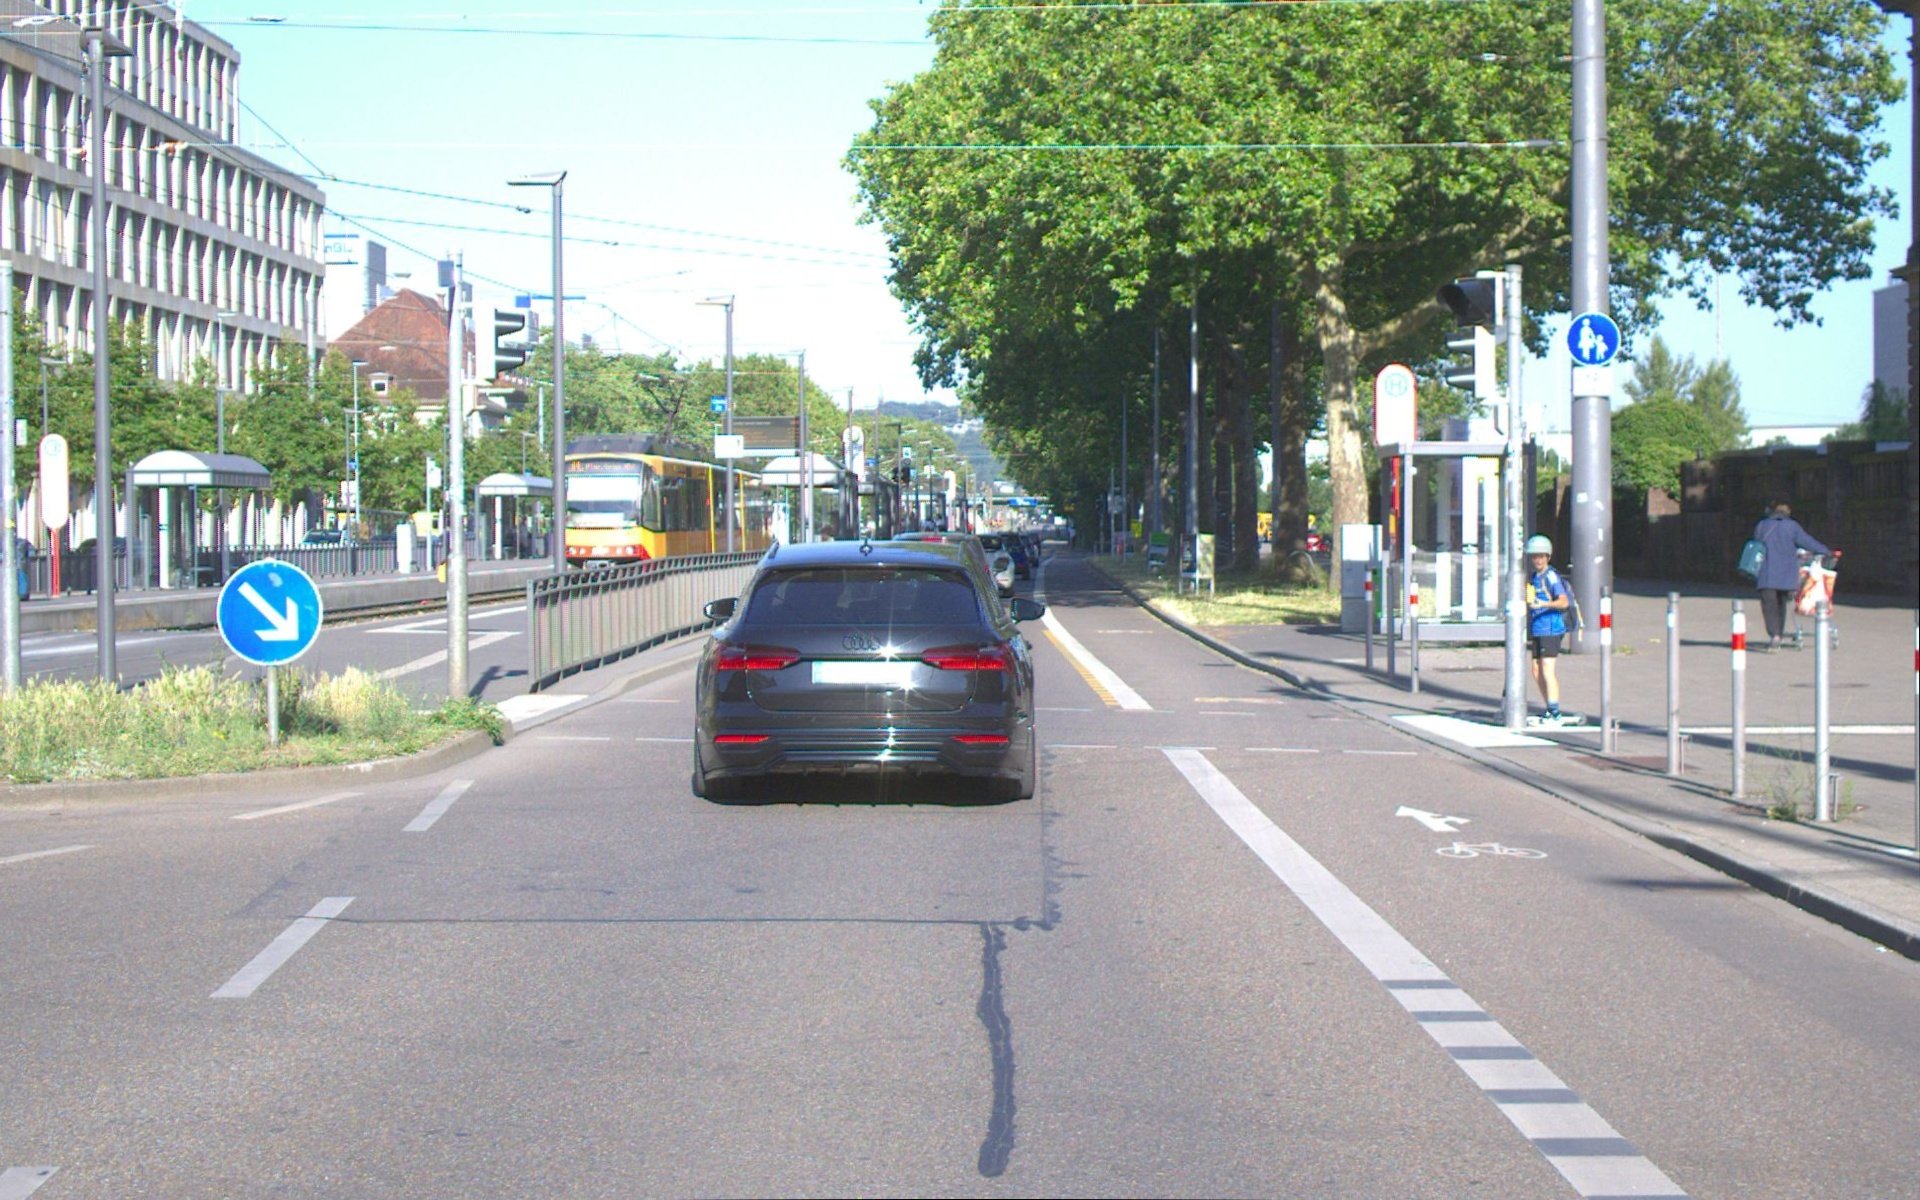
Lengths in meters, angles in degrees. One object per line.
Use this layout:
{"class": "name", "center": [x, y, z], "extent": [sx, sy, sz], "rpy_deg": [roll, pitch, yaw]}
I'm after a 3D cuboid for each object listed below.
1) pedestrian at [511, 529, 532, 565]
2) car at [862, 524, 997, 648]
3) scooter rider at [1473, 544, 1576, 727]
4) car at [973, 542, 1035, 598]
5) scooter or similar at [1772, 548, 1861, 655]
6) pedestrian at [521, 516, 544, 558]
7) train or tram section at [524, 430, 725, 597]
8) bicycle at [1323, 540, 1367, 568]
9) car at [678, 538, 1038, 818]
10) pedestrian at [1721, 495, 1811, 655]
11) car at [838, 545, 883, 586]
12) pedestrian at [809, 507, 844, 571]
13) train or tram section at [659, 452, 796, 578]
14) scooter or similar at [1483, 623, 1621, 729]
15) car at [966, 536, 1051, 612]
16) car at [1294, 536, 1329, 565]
{"class": "pedestrian", "center": [-15.617, -1.881, 122.422], "extent": [0.614, 1.255, 0.724], "rpy_deg": [0, 1, 6]}
{"class": "car", "center": [-0.421, -0.221, 46.903], "extent": [1.762, 1.614, 4.000], "rpy_deg": [0, 1, -1]}
{"class": "scooter rider", "center": [4.350, 0.263, 26.525], "extent": [0.701, 1.392, 0.600], "rpy_deg": [0, 1, 2]}
{"class": "car", "center": [1.280, -0.896, 101.870], "extent": [1.762, 1.614, 4.000], "rpy_deg": [0, 1, -1]}
{"class": "scooter or similar", "center": [9.488, 0.008, 38.103], "extent": [0.718, 1.152, 0.760], "rpy_deg": [-2, 1, -5]}
{"class": "pedestrian", "center": [-15.555, -2.304, 125.106], "extent": [0.614, 1.522, 0.724], "rpy_deg": [0, 1, 10]}
{"class": "train or tram section", "center": [-8.195, -2.104, 86.060], "extent": [3.309, 3.816, 14.219], "rpy_deg": [0, 1, 1]}
{"class": "bicycle", "center": [15.865, -1.899, 141.665], "extent": [1.773, 1.116, 0.439], "rpy_deg": [-1, 1, 1]}
{"class": "car", "center": [-0.551, 0.379, 19.637], "extent": [1.878, 1.452, 3.357], "rpy_deg": [0, 1, -1]}
{"class": "pedestrian", "center": [8.896, -0.281, 37.954], "extent": [0.770, 1.738, 0.795], "rpy_deg": [-1, 1, 26]}
{"class": "car", "center": [-4.061, -1.425, 140.583], "extent": [1.762, 1.614, 4.000], "rpy_deg": [0, 1, -1]}
{"class": "pedestrian", "center": [-3.130, -1.434, 80.706], "extent": [0.746, 1.503, 0.666], "rpy_deg": [0, 1, 4]}
{"class": "train or tram section", "center": [-7.356, -2.675, 110.468], "extent": [3.309, 3.816, 11.843], "rpy_deg": [0, 1, 1]}
{"class": "scooter or similar", "center": [4.581, 0.584, 26.625], "extent": [1.021, 0.808, 0.265], "rpy_deg": [0, 1, 2]}
{"class": "car", "center": [1.032, -0.594, 75.362], "extent": [1.762, 1.614, 4.000], "rpy_deg": [0, 1, -1]}
{"class": "car", "center": [18.871, -2.661, 184.615], "extent": [1.614, 1.510, 3.803], "rpy_deg": [0, 1, 2]}
